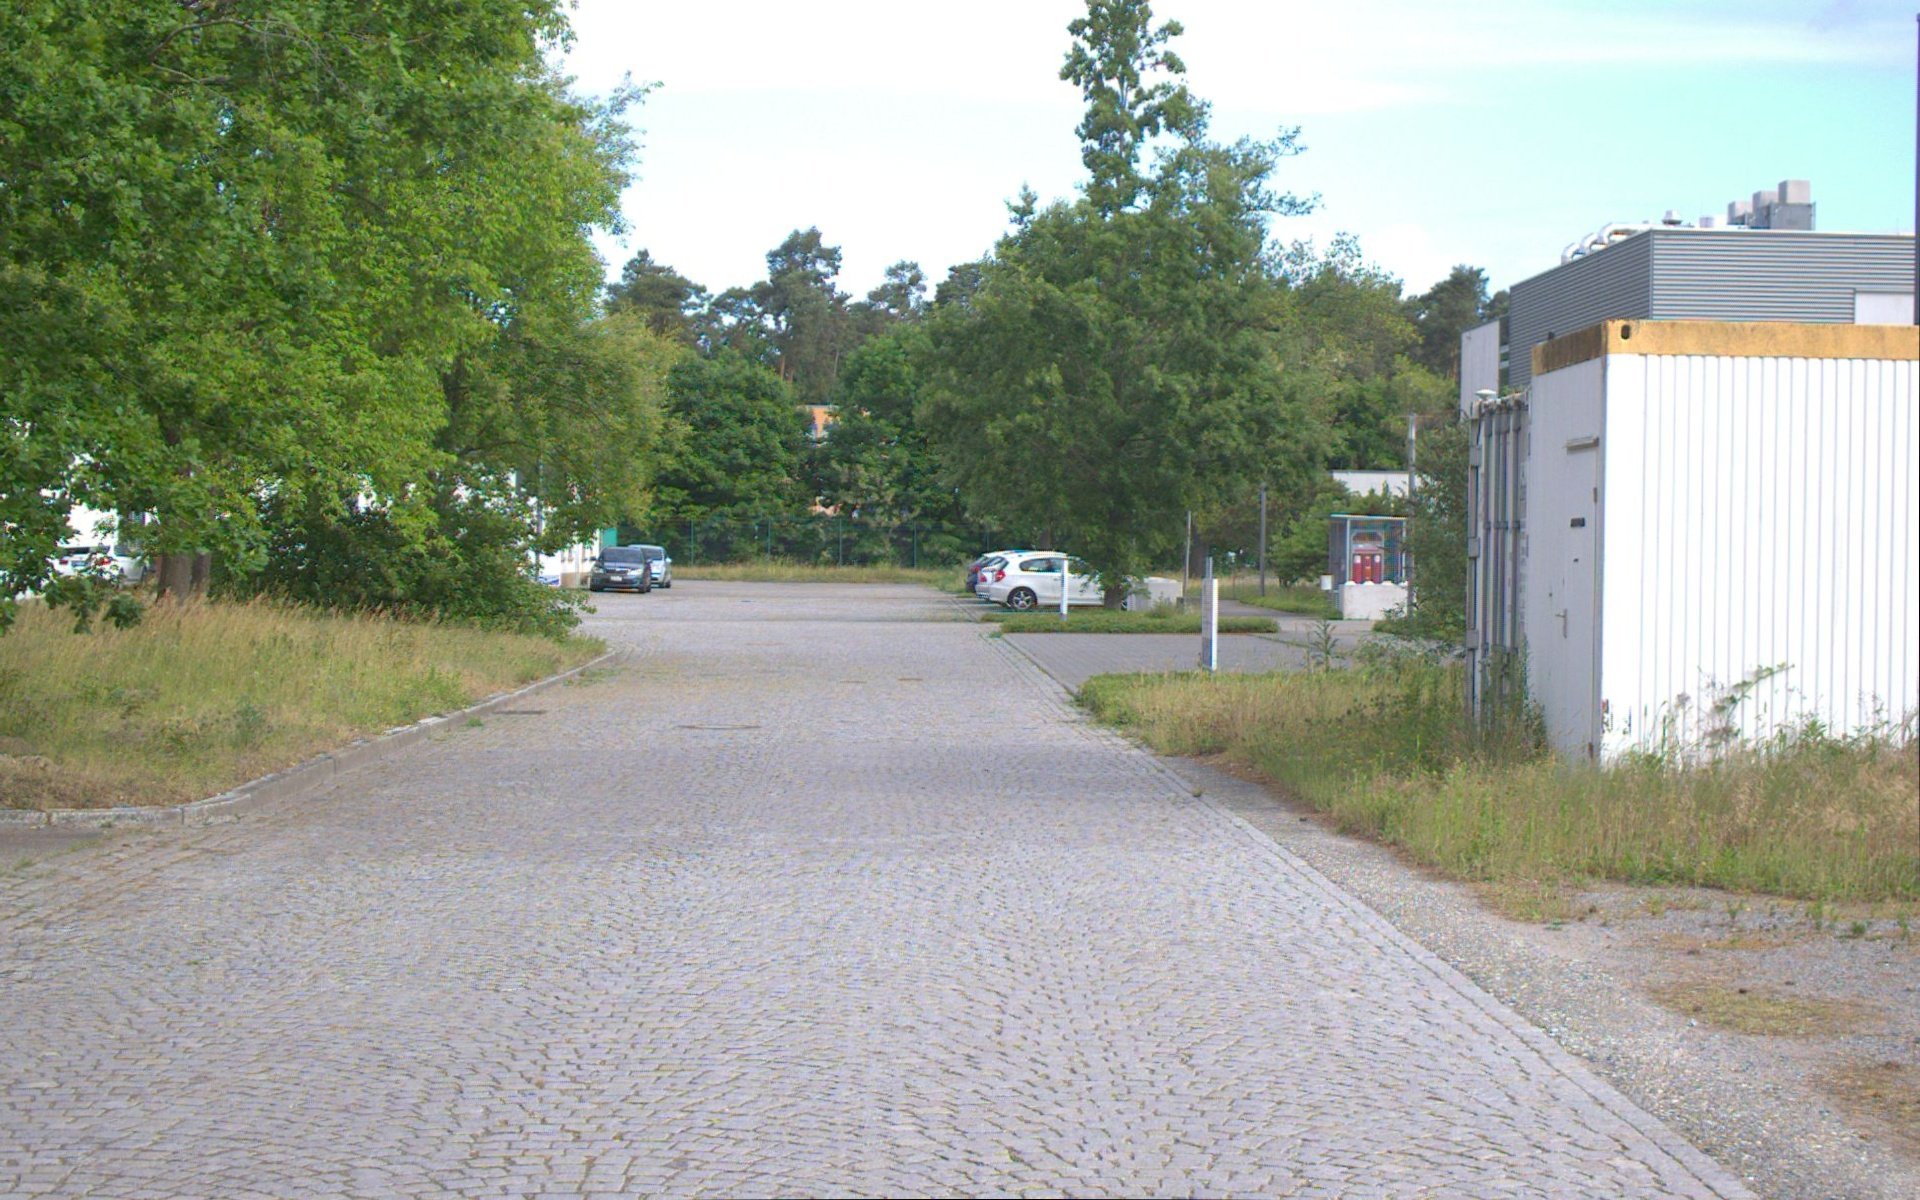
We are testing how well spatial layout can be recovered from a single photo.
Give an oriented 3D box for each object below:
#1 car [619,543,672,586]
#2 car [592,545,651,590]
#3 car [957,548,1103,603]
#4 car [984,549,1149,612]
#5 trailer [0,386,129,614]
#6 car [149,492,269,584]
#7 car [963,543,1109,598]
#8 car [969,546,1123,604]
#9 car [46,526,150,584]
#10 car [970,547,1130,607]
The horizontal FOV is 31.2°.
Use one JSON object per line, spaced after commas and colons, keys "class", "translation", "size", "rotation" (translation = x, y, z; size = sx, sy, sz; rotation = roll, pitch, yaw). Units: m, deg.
{"class": "car", "translation": [-10.952, -1.258, 119.893], "size": [1.748, 1.449, 4.001], "rotation": [1, 1, -4]}
{"class": "car", "translation": [-10.782, -1.050, 109.664], "size": [1.748, 1.359, 4.001], "rotation": [1, 1, -4]}
{"class": "car", "translation": [1.944, -0.688, 96.054], "size": [3.987, 1.450, 1.770], "rotation": [1, 1, -1]}
{"class": "car", "translation": [2.645, -0.491, 85.953], "size": [3.987, 1.450, 2.000], "rotation": [2, 0, -1]}
{"class": "trailer", "translation": [-16.824, -1.672, 58.374], "size": [2.656, 3.693, 10.721], "rotation": [1, 1, 1]}
{"class": "car", "translation": [-21.332, -1.753, 97.852], "size": [1.993, 2.515, 5.617], "rotation": [1, 1, 2]}
{"class": "car", "translation": [2.181, -0.853, 99.273], "size": [3.986, 1.528, 2.000], "rotation": [1, 1, -5]}
{"class": "car", "translation": [2.262, -0.668, 91.155], "size": [3.987, 1.450, 1.770], "rotation": [1, 1, -1]}
{"class": "car", "translation": [-24.168, -1.271, 96.526], "size": [1.900, 1.569, 4.000], "rotation": [1, 1, 0]}
{"class": "car", "translation": [2.290, -0.597, 88.115], "size": [3.987, 1.450, 1.697], "rotation": [1, 1, -1]}
